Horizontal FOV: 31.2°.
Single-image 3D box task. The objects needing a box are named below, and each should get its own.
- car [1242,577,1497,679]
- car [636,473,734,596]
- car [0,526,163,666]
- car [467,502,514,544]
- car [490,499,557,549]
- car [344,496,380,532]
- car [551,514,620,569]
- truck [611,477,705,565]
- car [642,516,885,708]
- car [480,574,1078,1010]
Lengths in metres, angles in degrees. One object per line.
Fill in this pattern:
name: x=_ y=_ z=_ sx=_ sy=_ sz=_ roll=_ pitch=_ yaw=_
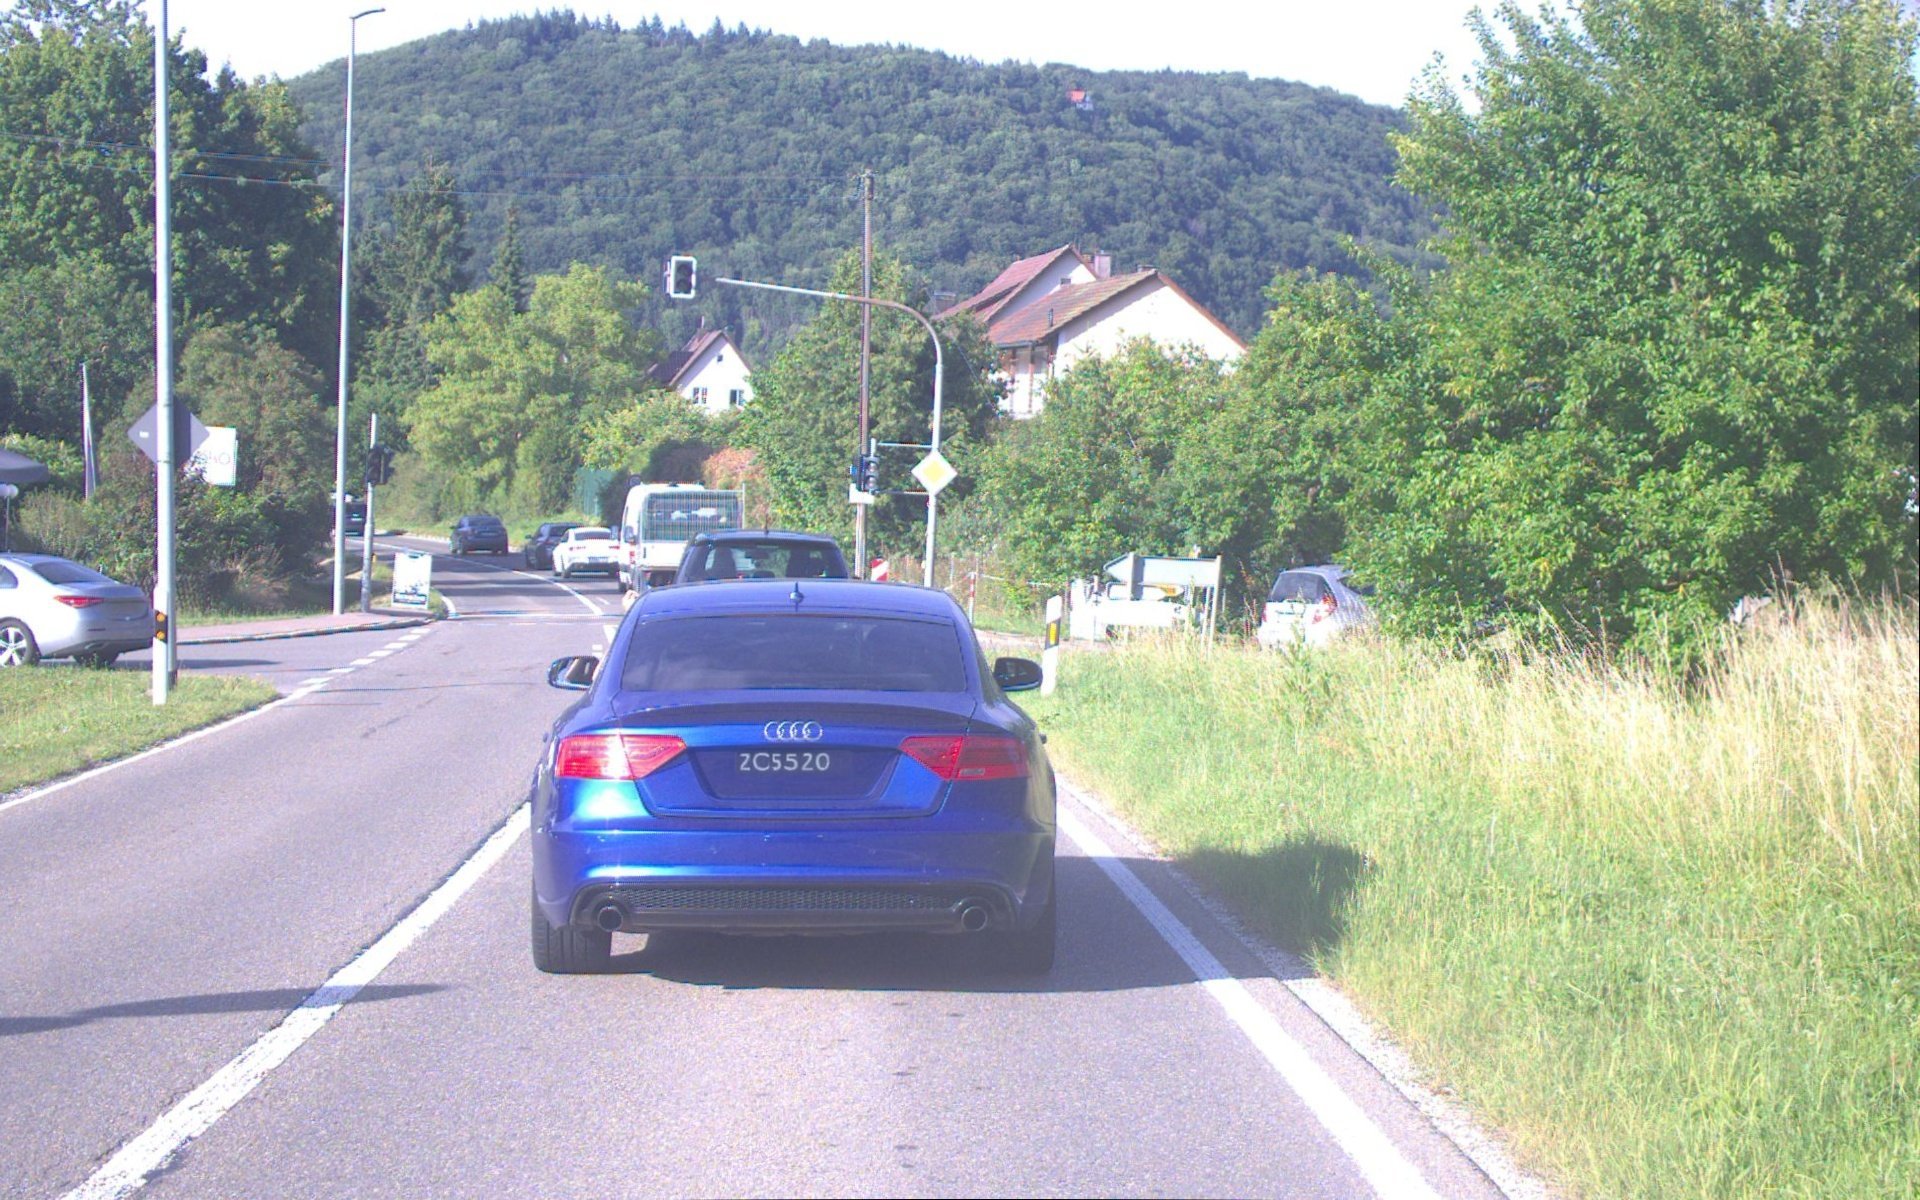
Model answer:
car: x=6.235 y=0.423 z=52.215 sx=3.719 sy=1.472 sz=1.630 roll=1 pitch=0 yaw=-36
car: x=-5.136 y=-1.194 z=64.133 sx=1.746 sy=2.188 sz=4.001 roll=1 pitch=0 yaw=-5
car: x=-12.086 y=-0.080 z=41.931 sx=4.455 sy=1.634 sz=1.808 roll=1 pitch=0 yaw=26
car: x=-17.389 y=-2.844 z=127.417 sx=1.697 sy=1.485 sz=3.528 roll=1 pitch=0 yaw=-8
car: x=-13.652 y=-2.372 z=107.330 sx=1.697 sy=1.485 sz=3.528 roll=1 pitch=0 yaw=-13
car: x=-27.741 y=-3.973 z=159.440 sx=1.625 sy=1.571 sz=3.680 roll=1 pitch=0 yaw=-10
car: x=-10.657 y=-1.650 z=97.689 sx=1.697 sy=1.485 sz=3.528 roll=1 pitch=0 yaw=-10
truck: x=-7.168 y=-1.822 z=81.076 sx=1.697 sy=1.947 sz=5.924 roll=1 pitch=0 yaw=-10
car: x=-1.745 y=0.093 z=31.720 sx=1.746 sy=1.634 sz=3.999 roll=1 pitch=0 yaw=4
car: x=-0.515 y=0.600 z=12.976 sx=1.795 sy=1.383 sz=3.999 roll=0 pitch=0 yaw=4
